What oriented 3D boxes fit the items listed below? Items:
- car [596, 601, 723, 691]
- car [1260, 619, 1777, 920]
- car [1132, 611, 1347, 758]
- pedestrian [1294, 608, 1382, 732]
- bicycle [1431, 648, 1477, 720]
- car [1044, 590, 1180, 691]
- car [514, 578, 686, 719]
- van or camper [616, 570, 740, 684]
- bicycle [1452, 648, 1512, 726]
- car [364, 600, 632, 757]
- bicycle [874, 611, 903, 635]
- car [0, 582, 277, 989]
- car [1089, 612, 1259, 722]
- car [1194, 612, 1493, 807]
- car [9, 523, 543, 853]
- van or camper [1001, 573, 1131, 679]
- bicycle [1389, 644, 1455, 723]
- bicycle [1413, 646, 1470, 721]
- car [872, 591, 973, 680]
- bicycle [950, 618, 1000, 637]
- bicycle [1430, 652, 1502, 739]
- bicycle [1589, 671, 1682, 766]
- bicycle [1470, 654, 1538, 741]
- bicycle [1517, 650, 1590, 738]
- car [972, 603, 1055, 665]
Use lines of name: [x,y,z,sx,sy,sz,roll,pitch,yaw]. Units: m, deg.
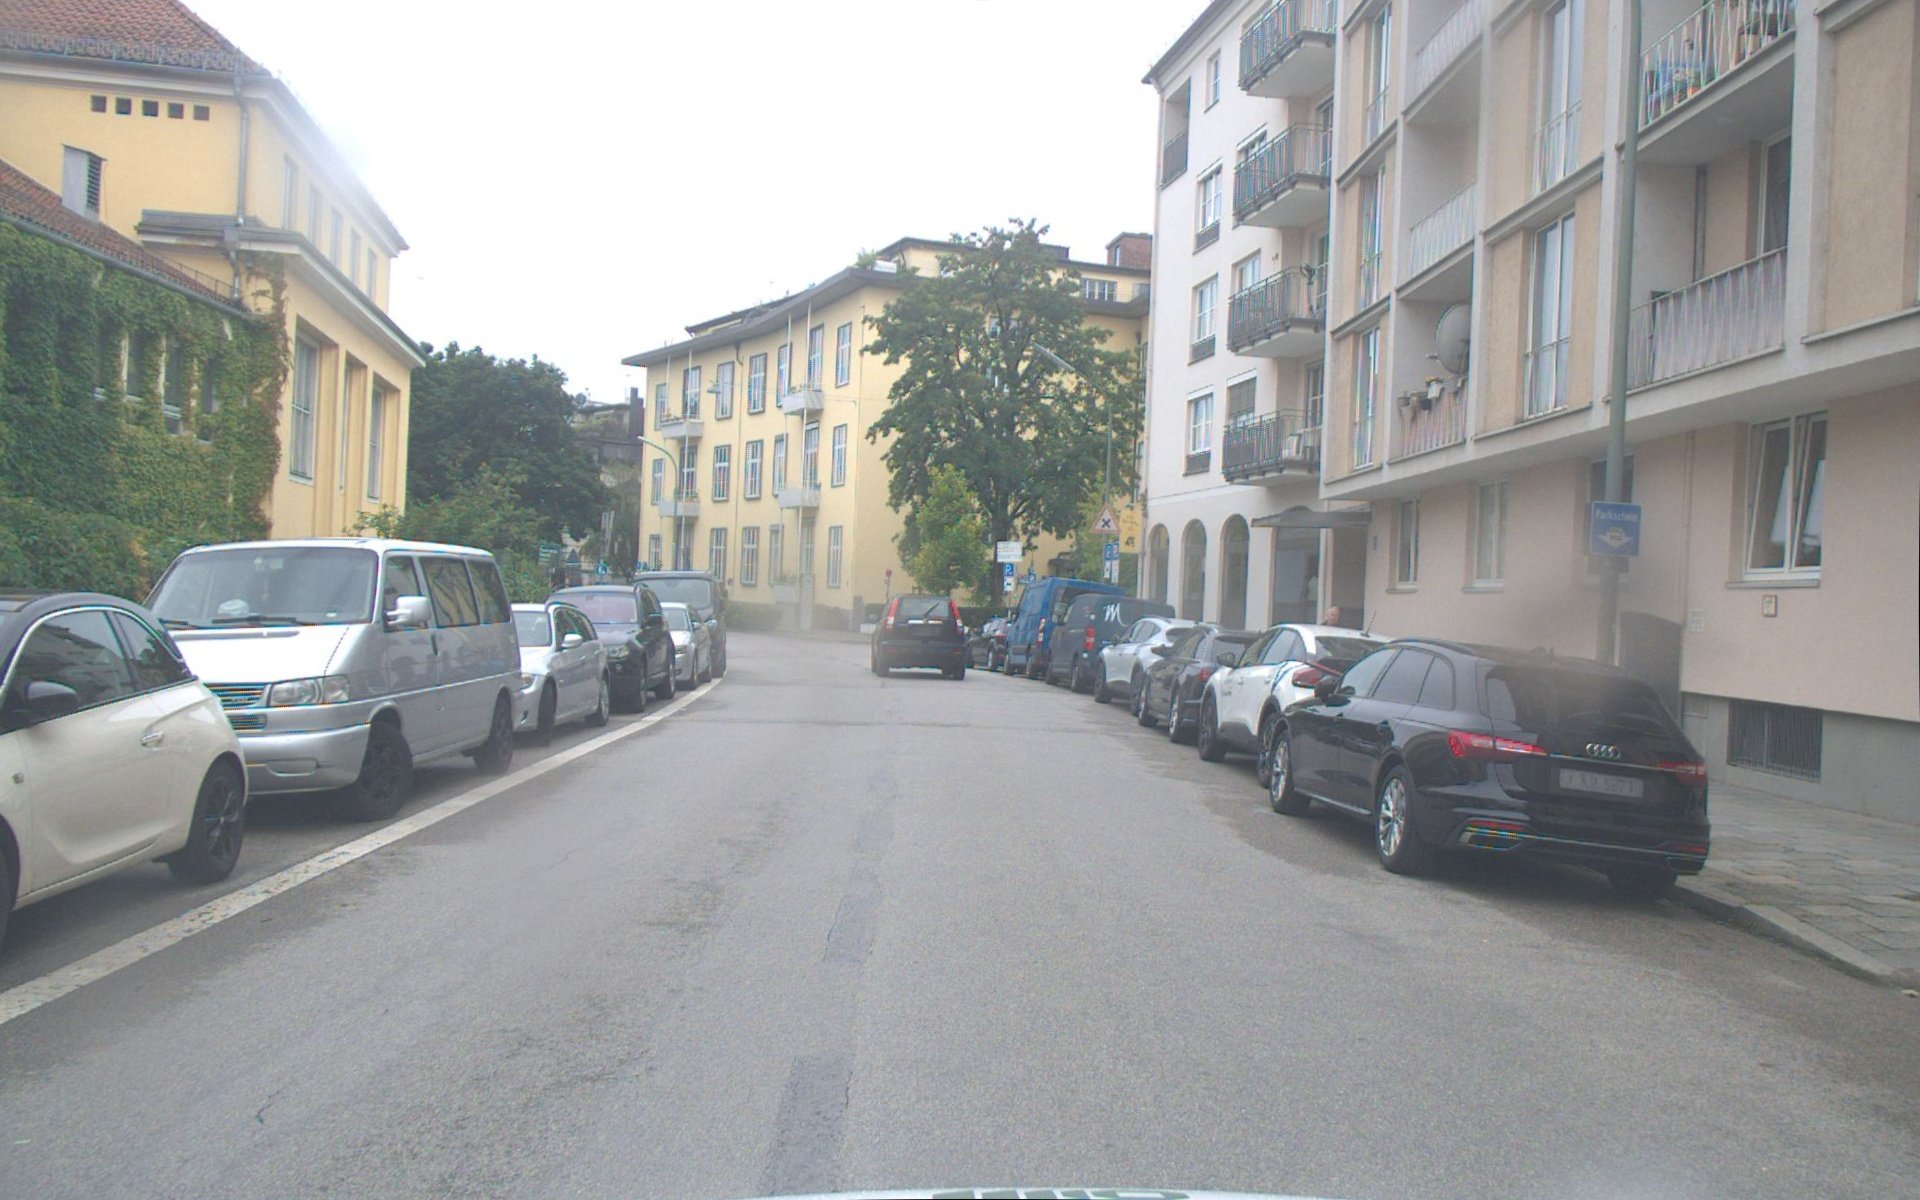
car: [-5.069,0.735,28.327,1.587,1.402,4.070,0,0,-3]
car: [3.529,0.975,11.454,1.761,1.445,4.480,5,0,-3]
car: [3.457,0.988,21.301,1.705,1.525,4.492,4,0,-3]
pedestrian: [5.457,0.986,23.944,0.880,1.717,1.319,1,0,-3]
bicycle: [7.527,1.274,25.212,0.366,1.041,1.001,1,0,-2]
car: [2.911,0.738,32.699,1.925,1.848,4.932,0,0,-4]
car: [-4.886,0.602,22.989,1.587,1.760,4.422,0,0,-3]
van or camper: [-5.559,0.496,33.128,1.922,2.101,4.750,0,0,-4]
bicycle: [7.562,1.246,23.997,0.382,1.041,1.401,1,0,-2]
car: [-4.812,0.741,17.882,1.667,1.447,4.424,-1,0,-1]
bicycle: [-3.386,1.089,78.037,0.600,1.091,2.200,1,0,-25]
car: [-4.407,0.702,7.044,1.547,1.518,3.728,-1,0,-2]
car: [3.376,1.023,26.867,1.706,1.564,4.266,1,0,-7]
car: [3.621,0.964,16.417,1.705,1.525,4.217,4,0,-3]
car: [-4.648,0.514,12.169,1.953,1.908,4.757,-1,0,-1]
van or camper: [2.371,0.559,38.510,2.021,2.270,5.429,0,0,-7]
bicycle: [7.372,1.316,26.416,0.522,1.153,1.407,1,0,-5]
bicycle: [7.148,1.221,24.593,0.382,1.041,1.401,1,0,-2]
car: [-0.747,0.695,34.553,1.954,1.724,4.380,0,0,0]
bicycle: [0.665,1.234,74.835,2.163,0.792,0.611,2,0,12]
bicycle: [6.574,1.229,21.536,0.473,1.041,1.401,1,0,-2]
bicycle: [7.525,1.301,18.475,0.435,0.952,1.401,1,0,-2]
bicycle: [7.073,1.247,21.541,0.382,1.041,1.401,1,0,-2]
bicycle: [7.539,1.179,21.042,0.382,1.041,1.401,1,0,-2]
car: [1.396,0.878,44.470,1.671,1.544,3.953,0,0,-7]
